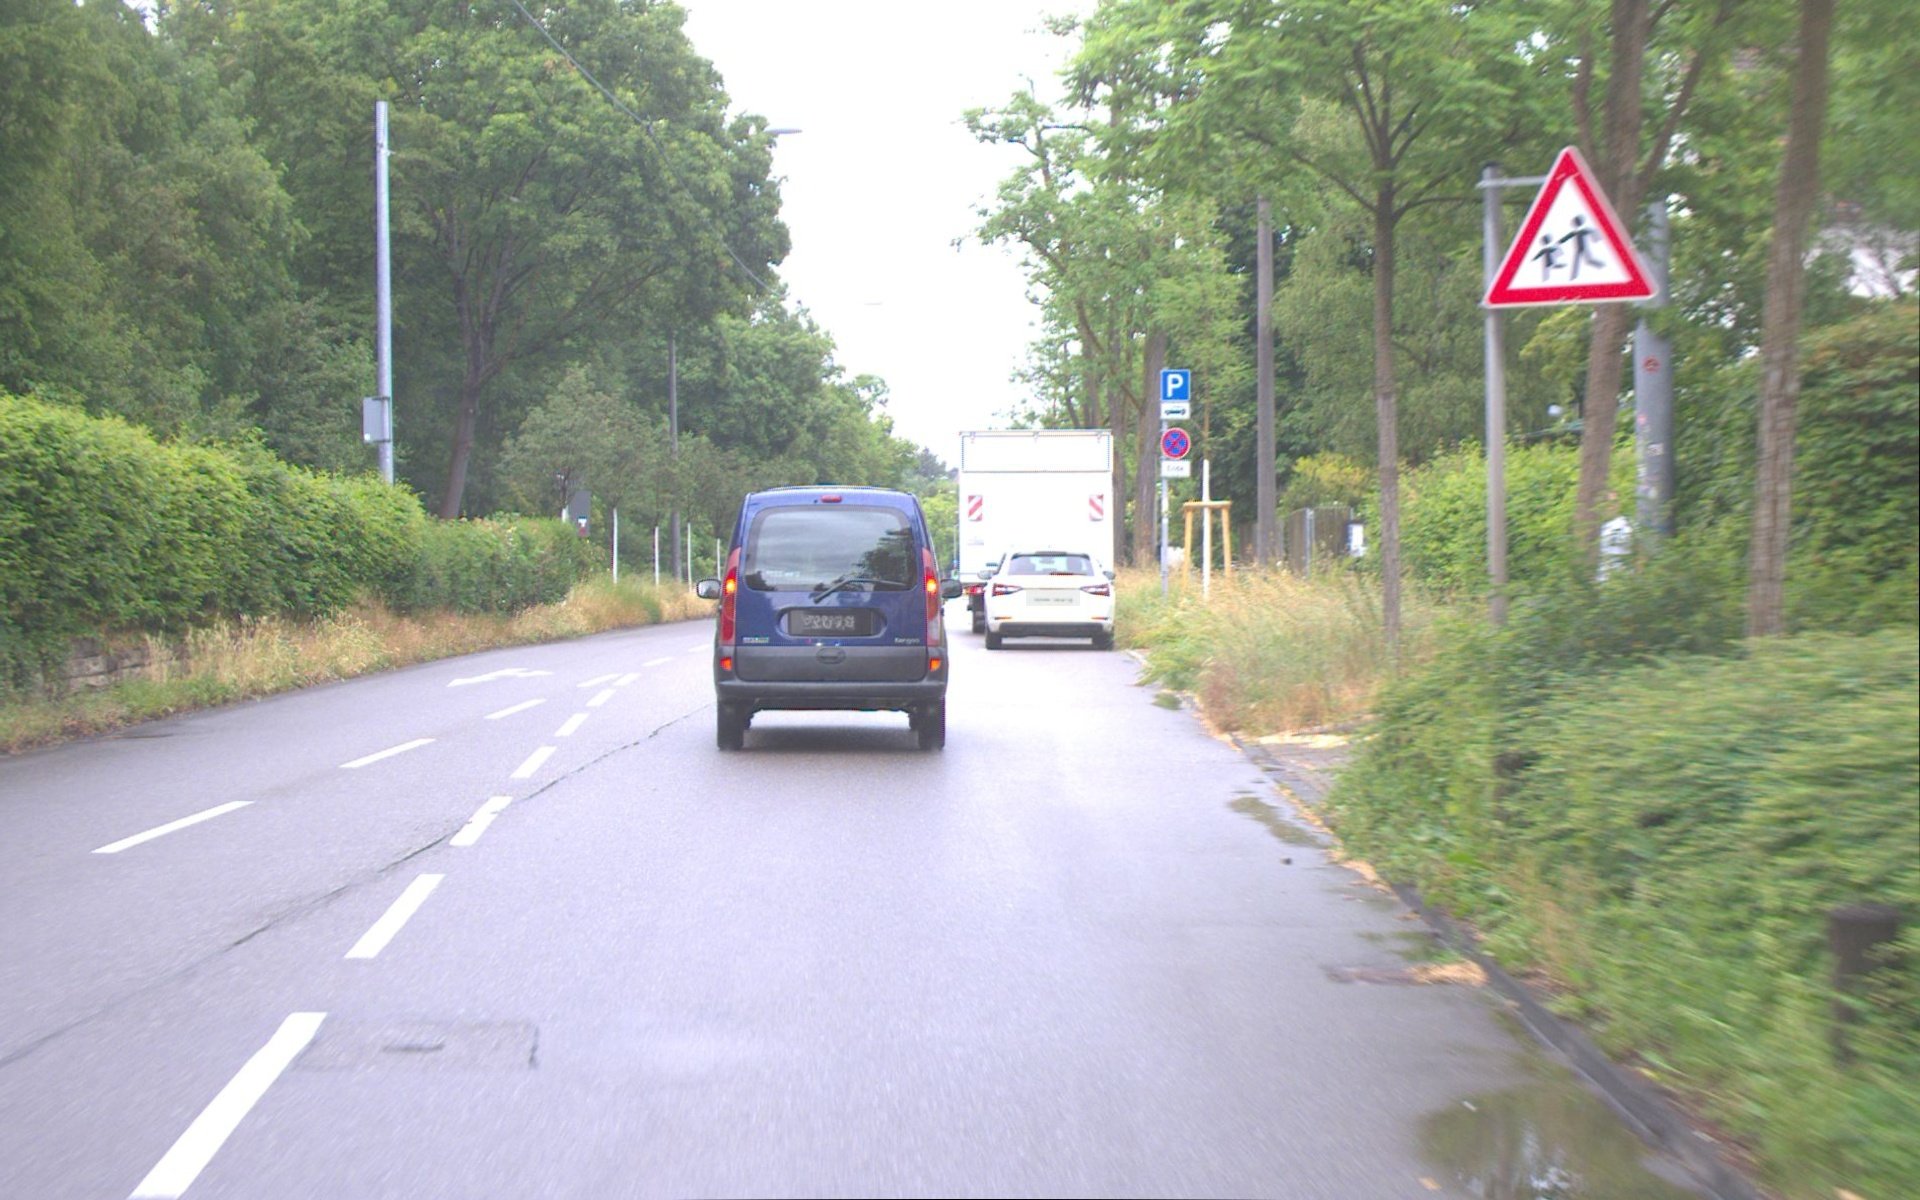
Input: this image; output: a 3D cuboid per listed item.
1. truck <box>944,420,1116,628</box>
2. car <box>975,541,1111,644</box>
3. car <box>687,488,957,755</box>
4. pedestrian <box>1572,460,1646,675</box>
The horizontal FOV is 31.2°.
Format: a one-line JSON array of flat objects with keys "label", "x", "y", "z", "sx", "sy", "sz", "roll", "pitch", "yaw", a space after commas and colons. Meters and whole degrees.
[{"label": "truck", "x": 1.135, "y": -1.302, "z": 59.940, "sx": 2.731, "sy": 3.375, "sz": 6.686, "roll": -1, "pitch": 1, "yaw": -1}, {"label": "car", "x": 1.146, "y": -0.134, "z": 49.111, "sx": 1.813, "sy": 1.376, "sz": 4.285, "roll": -1, "pitch": 1, "yaw": 0}, {"label": "car", "x": -1.040, "y": 0.114, "z": 25.302, "sx": 1.808, "sy": 1.791, "sz": 4.001, "roll": -1, "pitch": 1, "yaw": -3}, {"label": "pedestrian", "x": 5.180, "y": -0.260, "z": 27.450, "sx": 0.562, "sy": 1.702, "sz": 0.516, "roll": 0, "pitch": 1, "yaw": 9}]
